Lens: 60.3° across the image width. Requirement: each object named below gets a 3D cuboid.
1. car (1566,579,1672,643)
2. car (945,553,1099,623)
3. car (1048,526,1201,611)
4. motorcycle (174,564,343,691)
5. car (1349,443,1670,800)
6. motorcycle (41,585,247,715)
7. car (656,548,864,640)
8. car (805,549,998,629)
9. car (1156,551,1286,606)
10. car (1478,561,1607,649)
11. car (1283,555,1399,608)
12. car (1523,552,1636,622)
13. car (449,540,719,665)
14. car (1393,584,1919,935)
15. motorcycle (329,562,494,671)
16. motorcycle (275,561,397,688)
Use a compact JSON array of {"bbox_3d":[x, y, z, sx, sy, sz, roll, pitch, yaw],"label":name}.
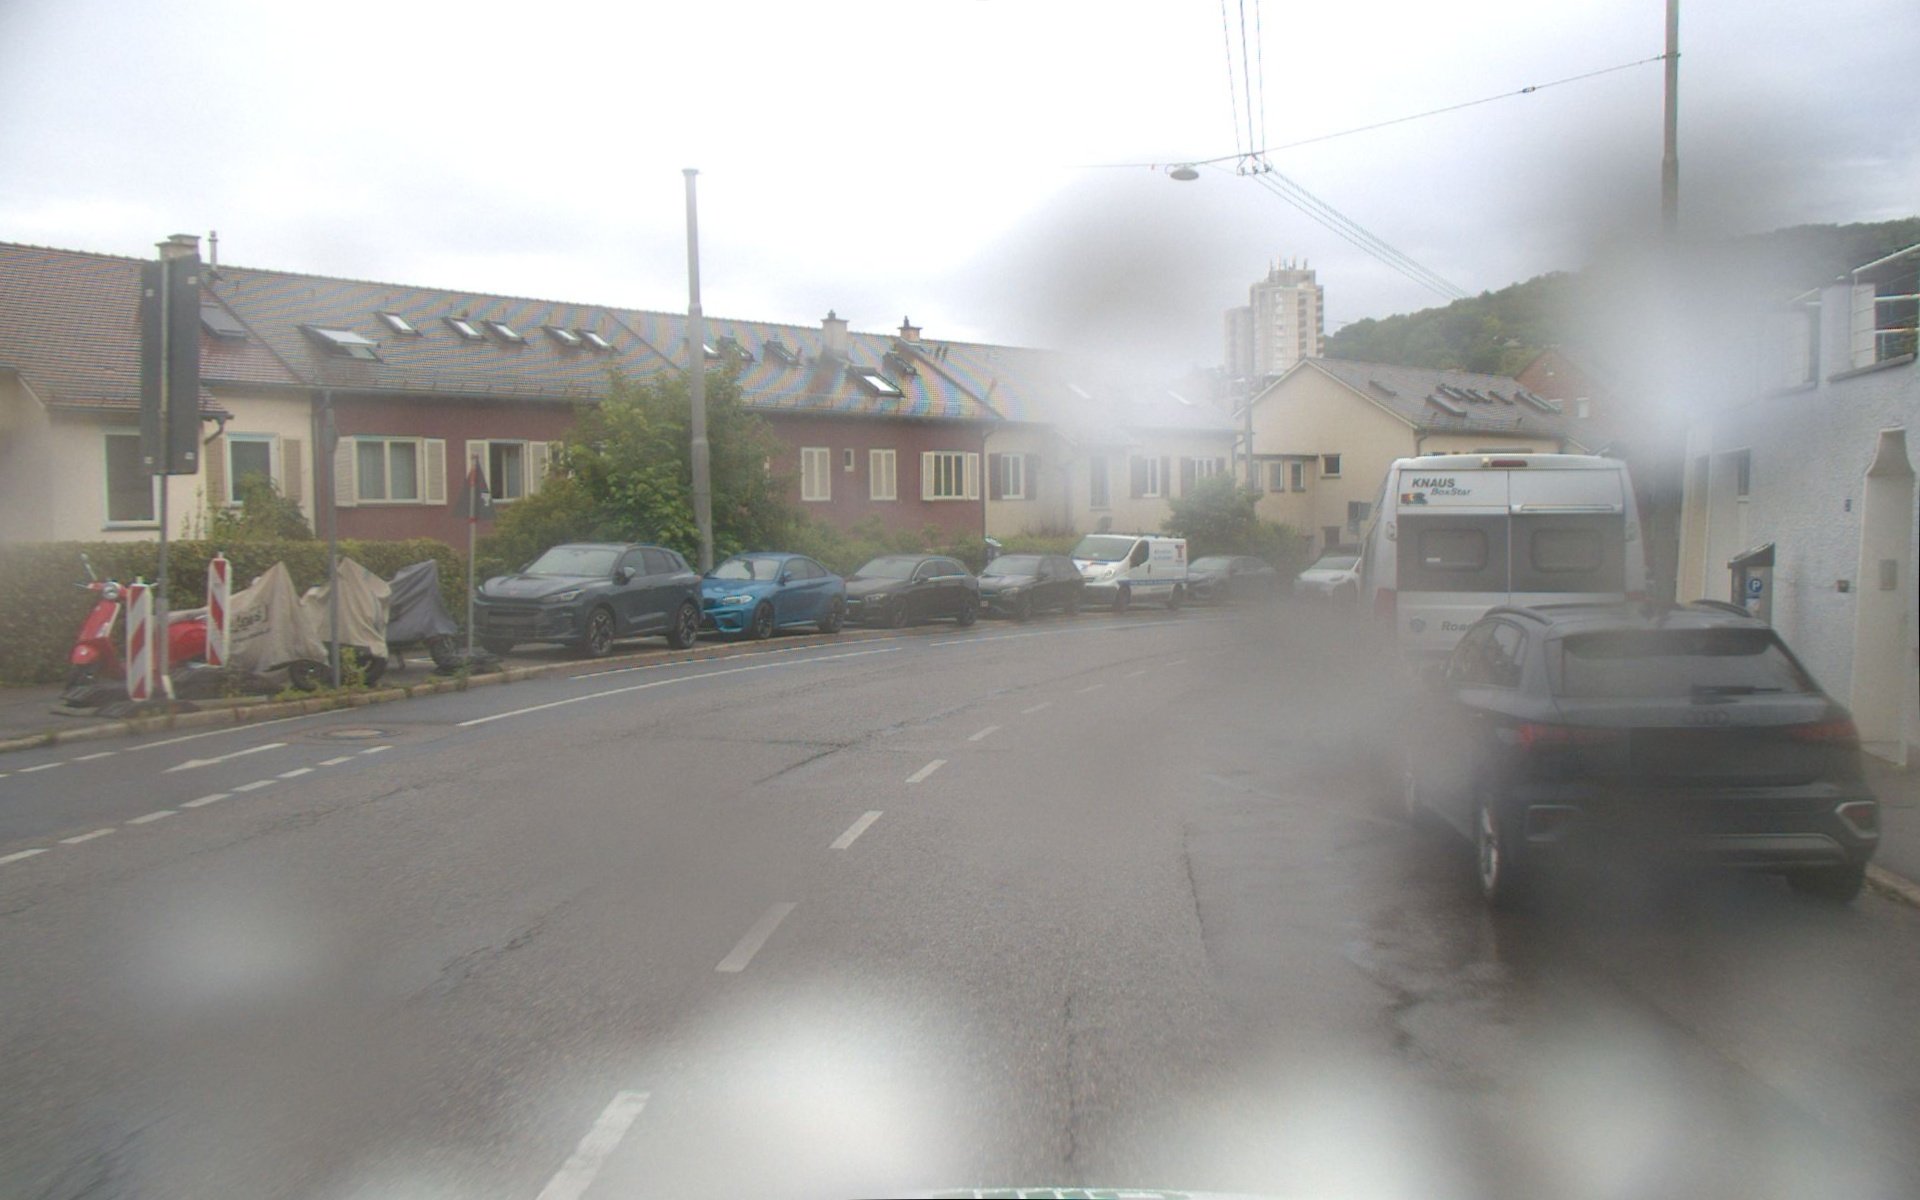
[{"bbox_3d":[17.120,0.253,42.851,1.613,1.461,4.159,2,3,35],"label":"car"},{"bbox_3d":[1.540,-0.313,39.115,1.774,1.502,4.515,3,2,29],"label":"car"},{"bbox_3d":[4.454,-0.847,44.151,1.817,2.115,5.003,3,2,35],"label":"car"},{"bbox_3d":[-7.594,0.280,17.913,1.763,1.301,0.511,1,2,16],"label":"motorcycle"},{"bbox_3d":[4.676,0.164,14.934,2.054,2.587,5.625,-1,0,12],"label":"car"},{"bbox_3d":[-7.970,0.460,16.259,0.499,1.159,1.922,-1,1,23],"label":"motorcycle"},{"bbox_3d":[-3.428,-0.168,29.263,1.665,1.429,4.473,3,3,22],"label":"car"},{"bbox_3d":[-1.125,-0.254,34.194,1.776,1.502,4.511,3,2,32],"label":"car"},{"bbox_3d":[7.783,-0.644,49.017,1.780,1.502,4.501,3,2,39],"label":"car"},{"bbox_3d":[12.194,0.055,34.479,1.770,1.678,4.202,2,2,30],"label":"car"},{"bbox_3d":[12.792,-0.626,55.342,1.900,1.659,4.654,3,2,39],"label":"car"},{"bbox_3d":[18.730,-0.432,49.875,2.268,1.973,4.312,1,2,34],"label":"car"},{"bbox_3d":[-5.401,-0.035,24.388,1.881,1.604,4.390,3,2,18],"label":"car"},{"bbox_3d":[3.627,0.689,9.400,1.716,1.522,4.187,-1,1,7],"label":"car"},{"bbox_3d":[-6.736,0.203,20.393,1.869,1.293,0.573,1,2,-15],"label":"motorcycle"},{"bbox_3d":[-7.135,0.250,18.868,0.609,1.326,1.778,0,3,-45],"label":"motorcycle"}]
